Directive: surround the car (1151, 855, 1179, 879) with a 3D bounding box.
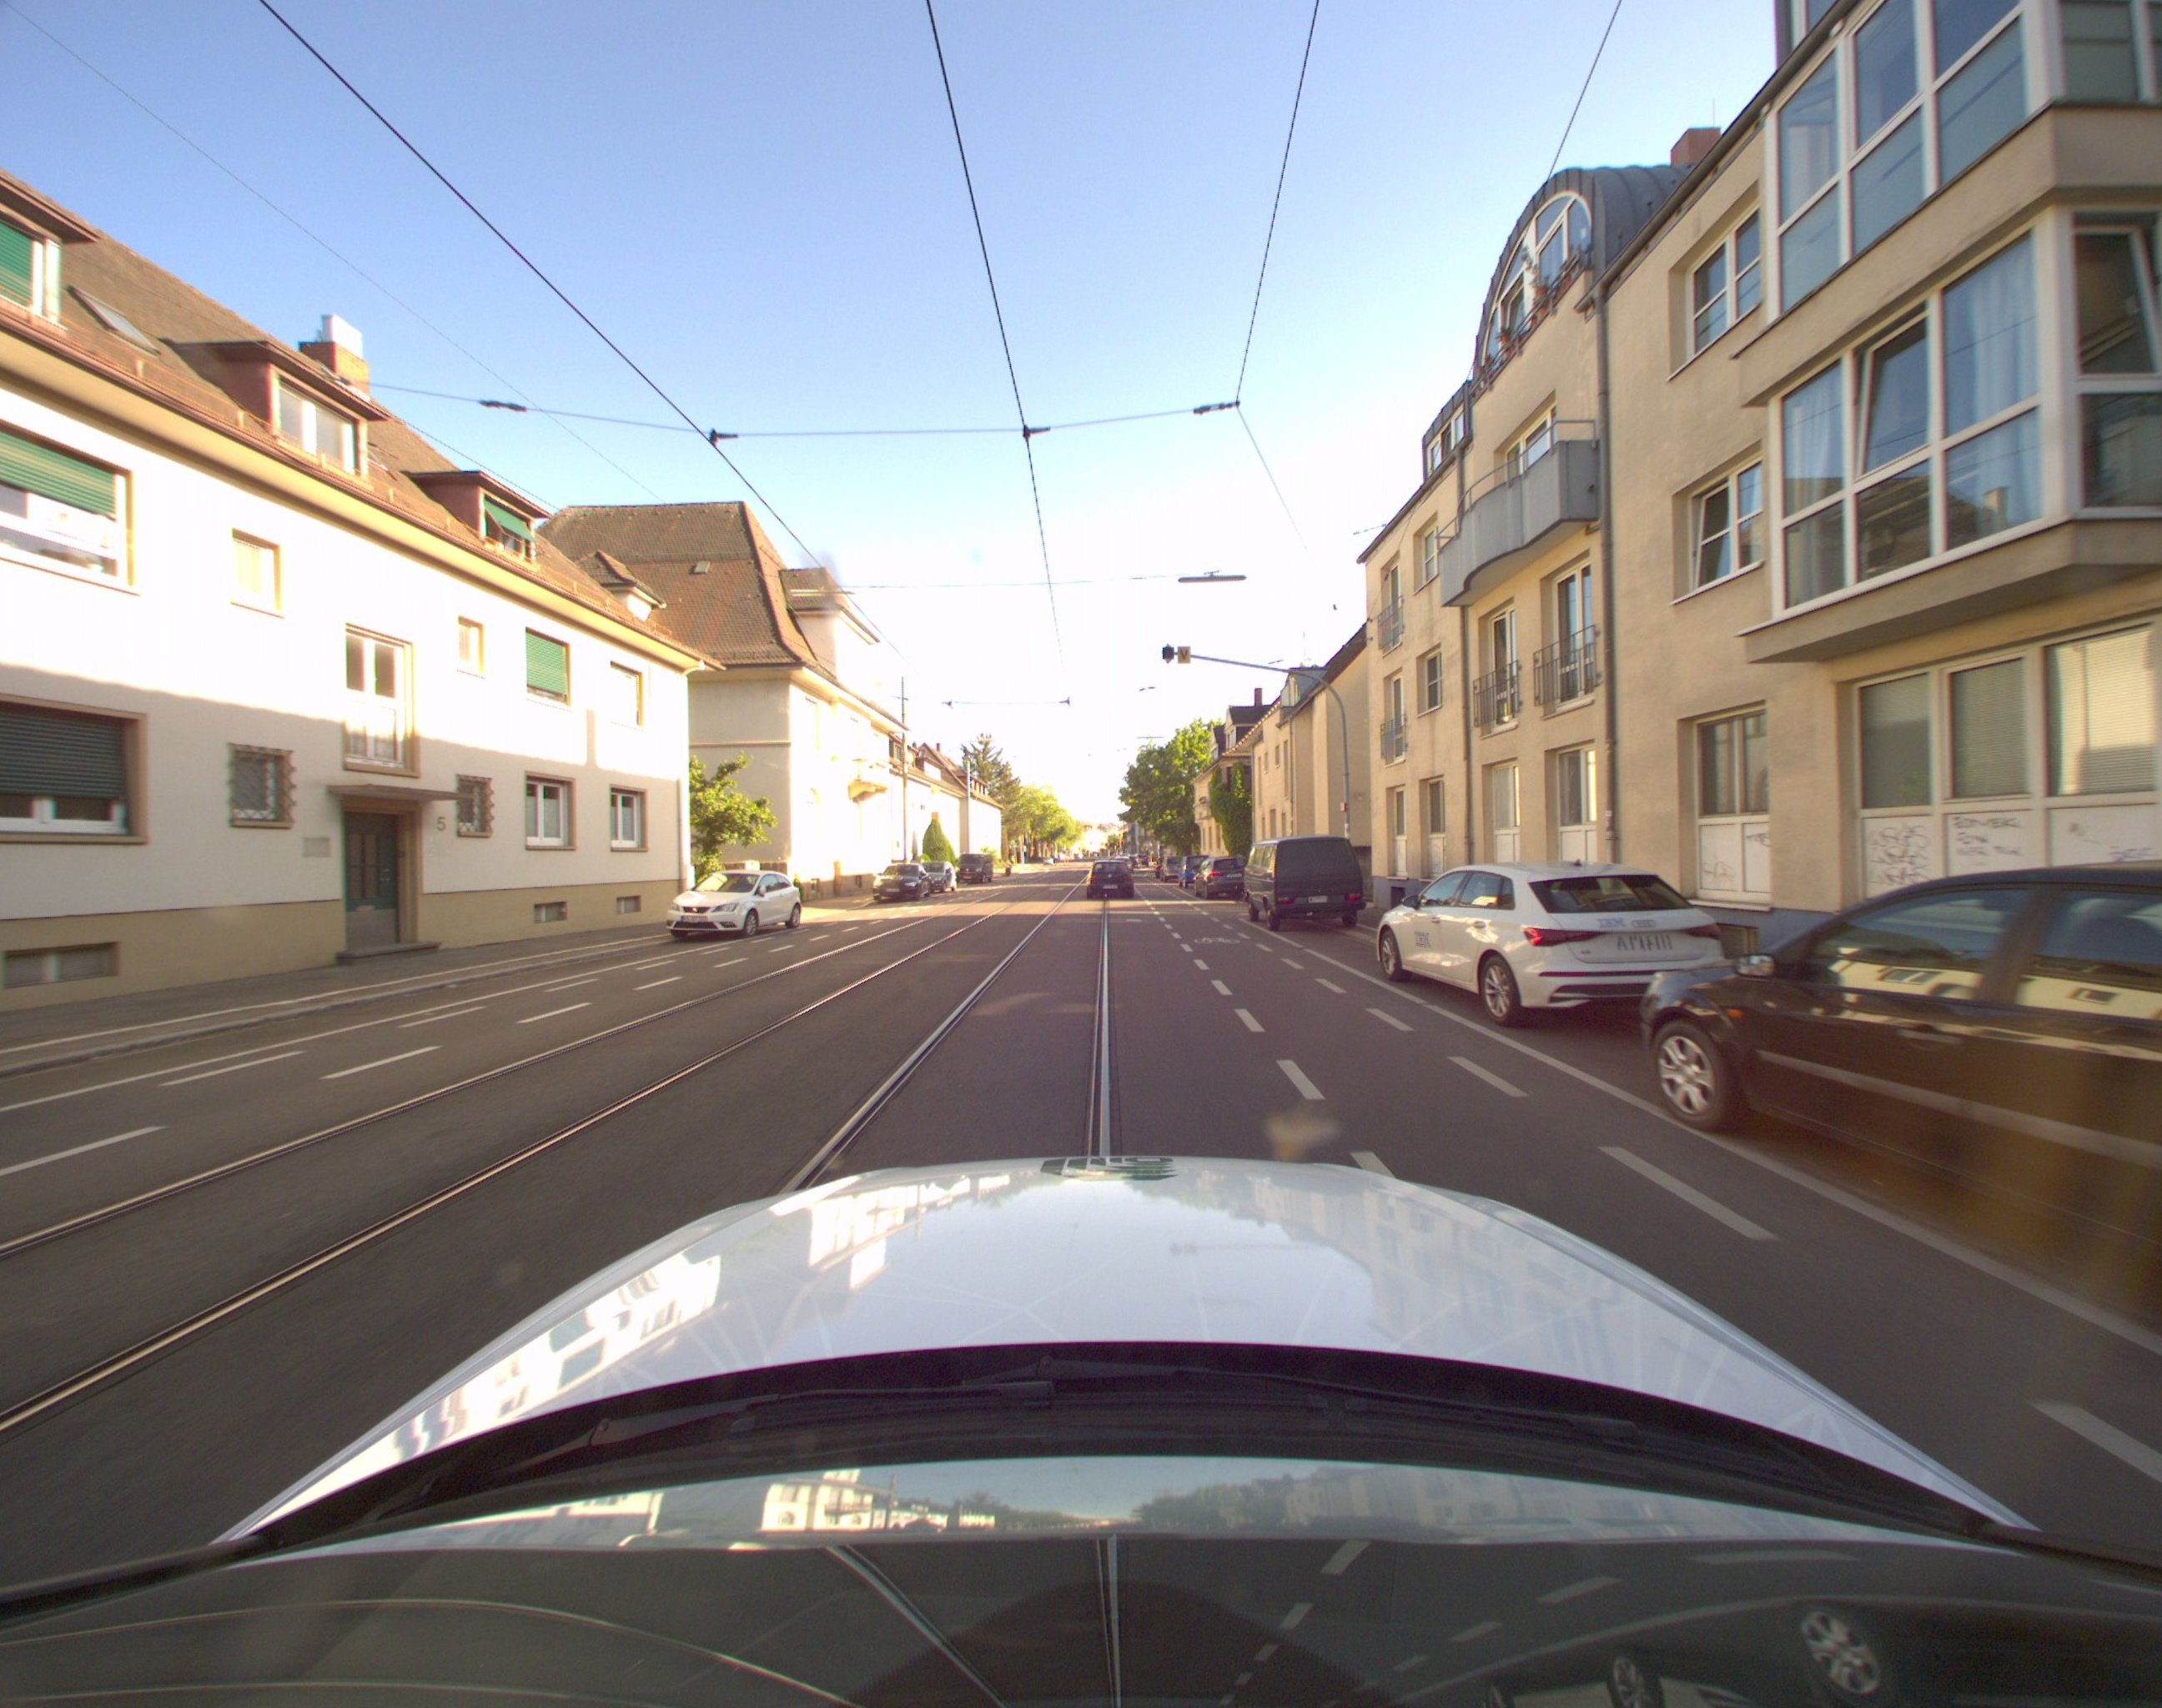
[{"bbox_3d":[5.788,0.885,56.539,1.659,1.564,3.772,0,0,2],"label":"car"}]

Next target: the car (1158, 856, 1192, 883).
[{"bbox_3d":[5.502,0.902,48.081,1.596,1.525,3.548,0,0,0],"label":"car"}]

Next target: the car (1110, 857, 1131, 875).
[{"bbox_3d":[3.396,1.007,70.668,1.733,1.441,3.811,-1,0,2],"label":"car"}]

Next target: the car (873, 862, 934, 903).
[{"bbox_3d":[-7.143,1.119,33.216,1.658,1.477,4.247,-1,0,-2],"label":"car"}]

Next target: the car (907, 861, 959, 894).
[{"bbox_3d":[-7.178,1.111,39.818,1.670,1.477,3.837,0,0,2],"label":"car"}]

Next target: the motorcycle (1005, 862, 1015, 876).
[{"bbox_3d":[-6.068,1.247,69.421,0.534,1.162,2.173,-3,0,2],"label":"motorcycle"}]

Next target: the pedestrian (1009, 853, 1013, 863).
[{"bbox_3d":[-12.094,0.717,140.499,0.610,1.689,0.729,2,0,-17],"label":"pedestrian"}]

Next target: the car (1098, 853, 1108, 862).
[{"bbox_3d":[4.365,0.716,162.258,1.781,1.860,4.000,1,0,0],"label":"car"}]

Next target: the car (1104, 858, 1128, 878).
[{"bbox_3d":[2.554,0.971,58.829,1.628,1.372,3.759,-2,0,2],"label":"car"}]

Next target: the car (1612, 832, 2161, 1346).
[{"bbox_3d":[4.068,0.718,3.273,1.548,1.557,3.653,0,0,1],"label":"car"}]

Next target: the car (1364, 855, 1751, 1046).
[{"bbox_3d":[4.475,0.758,8.500,1.671,1.491,4.173,0,0,1],"label":"car"}]

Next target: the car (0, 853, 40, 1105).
[{"bbox_3d":[-8.243,0.872,3.432,1.756,1.704,4.556,-3,0,1],"label":"car"}]

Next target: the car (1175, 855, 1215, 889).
[{"bbox_3d":[5.489,0.838,39.446,1.452,1.599,3.293,0,0,0],"label":"car"}]

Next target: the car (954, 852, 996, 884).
[{"bbox_3d":[-6.928,0.887,53.792,1.898,2.014,4.953,0,0,3],"label":"car"}]

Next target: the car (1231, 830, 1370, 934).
[{"bbox_3d":[4.651,0.535,17.945,1.899,1.987,4.563,0,0,1],"label":"car"}]

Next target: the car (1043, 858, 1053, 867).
[{"bbox_3d":[-5.552,1.359,135.796,1.571,1.477,3.437,-2,0,-3],"label":"car"}]

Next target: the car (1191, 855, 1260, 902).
[{"bbox_3d":[5.171,0.832,29.736,1.739,1.599,4.433,0,0,0],"label":"car"}]

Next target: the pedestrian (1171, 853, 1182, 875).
[{"bbox_3d":[7.621,0.819,64.979,0.715,1.688,0.870,-2,0,0],"label":"pedestrian"}]

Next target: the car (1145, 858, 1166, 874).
[{"bbox_3d":[6.926,1.091,75.883,1.565,1.311,3.646,-1,2,-1],"label":"car"}]

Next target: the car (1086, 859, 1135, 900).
[{"bbox_3d":[1.090,0.900,30.496,1.709,1.402,4.008,0,0,2],"label":"car"}]

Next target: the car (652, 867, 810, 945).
[{"bbox_3d":[-7.670,1.073,18.300,1.625,1.457,4.017,-3,0,2],"label":"car"}]
